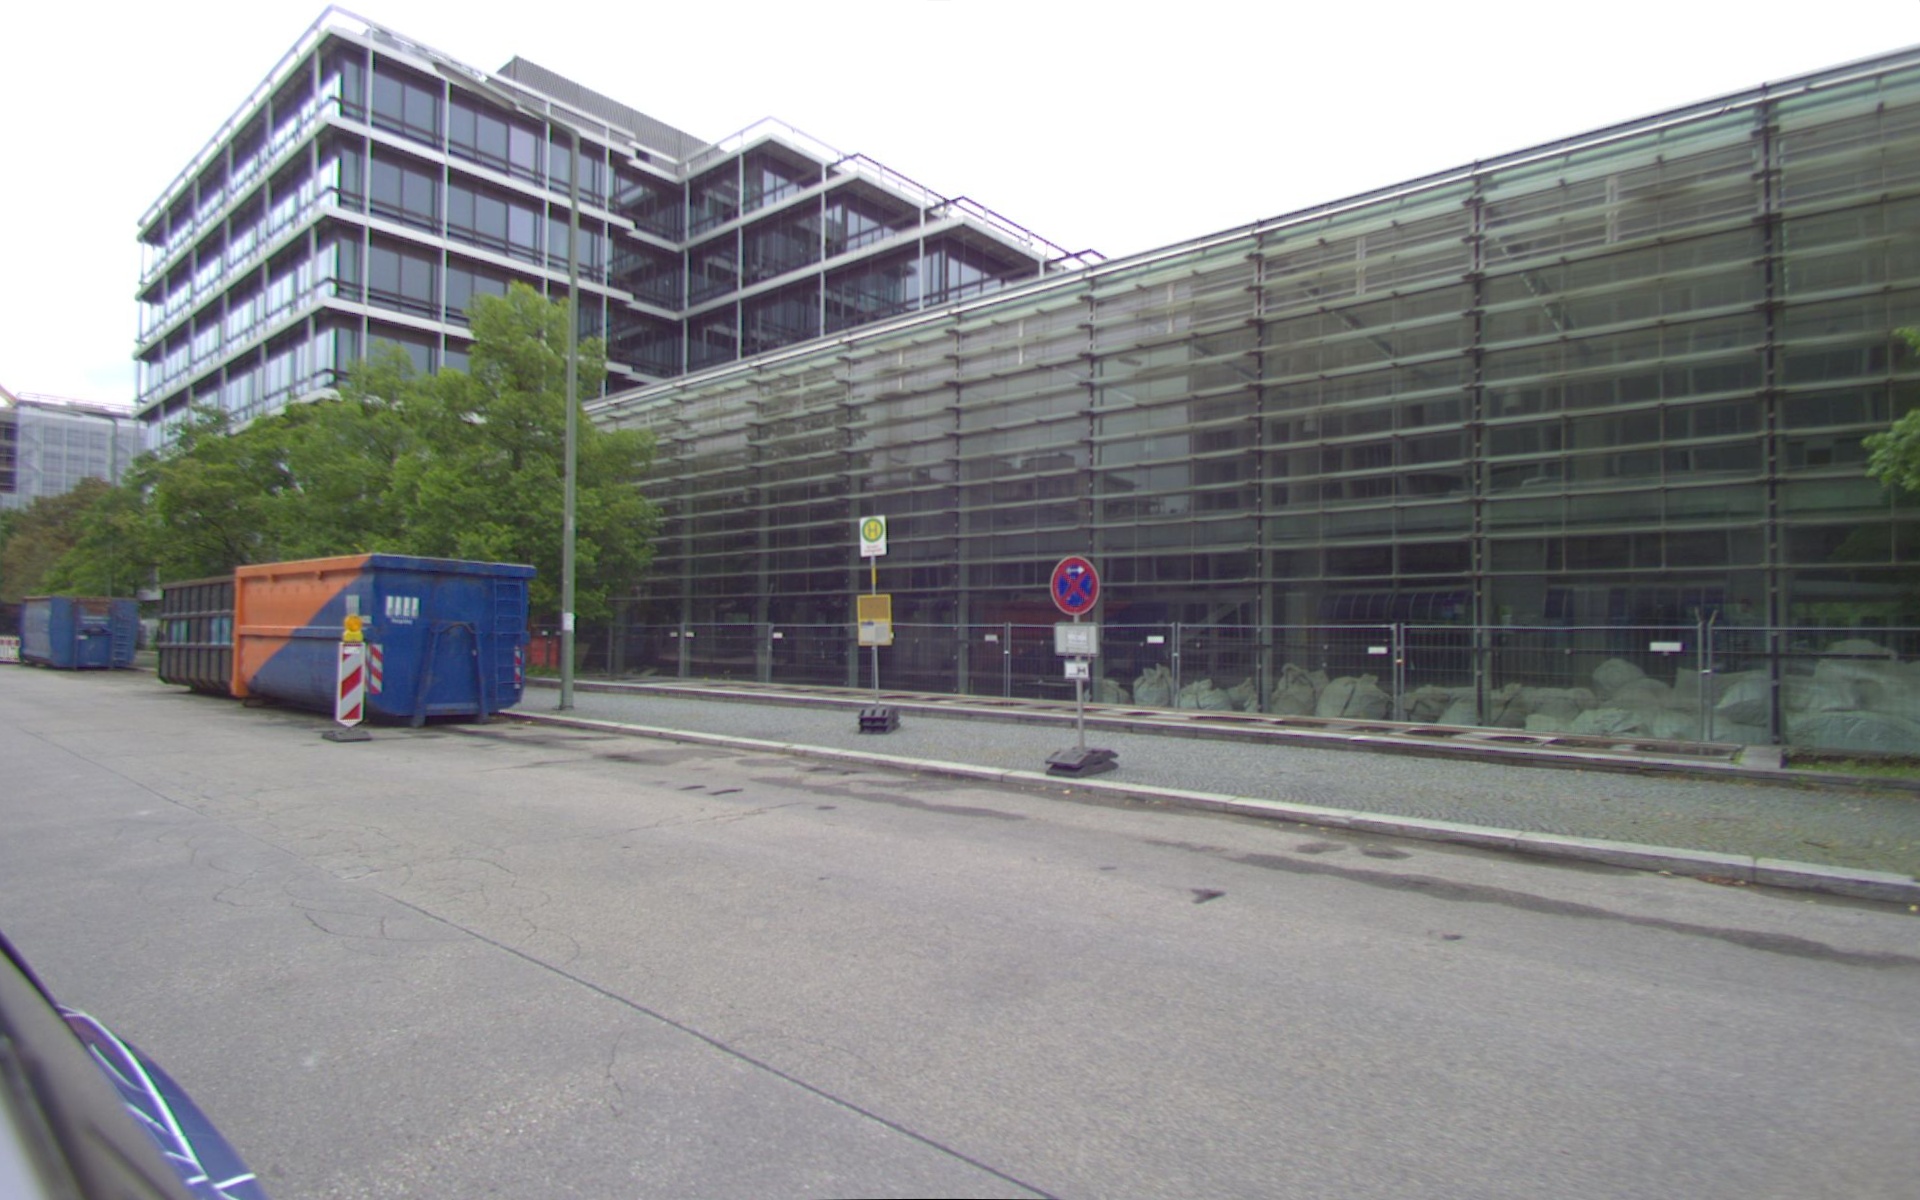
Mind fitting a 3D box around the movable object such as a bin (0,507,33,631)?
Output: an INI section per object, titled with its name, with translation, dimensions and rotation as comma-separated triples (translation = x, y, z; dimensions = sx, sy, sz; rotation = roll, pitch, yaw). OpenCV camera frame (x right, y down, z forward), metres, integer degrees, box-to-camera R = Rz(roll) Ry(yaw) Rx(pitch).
[movable object such as a bin]
translation = -55.567, -1.580, 57.348
dimensions = 11.775, 6.614, 2.874
rotation = -1, -3, 40
